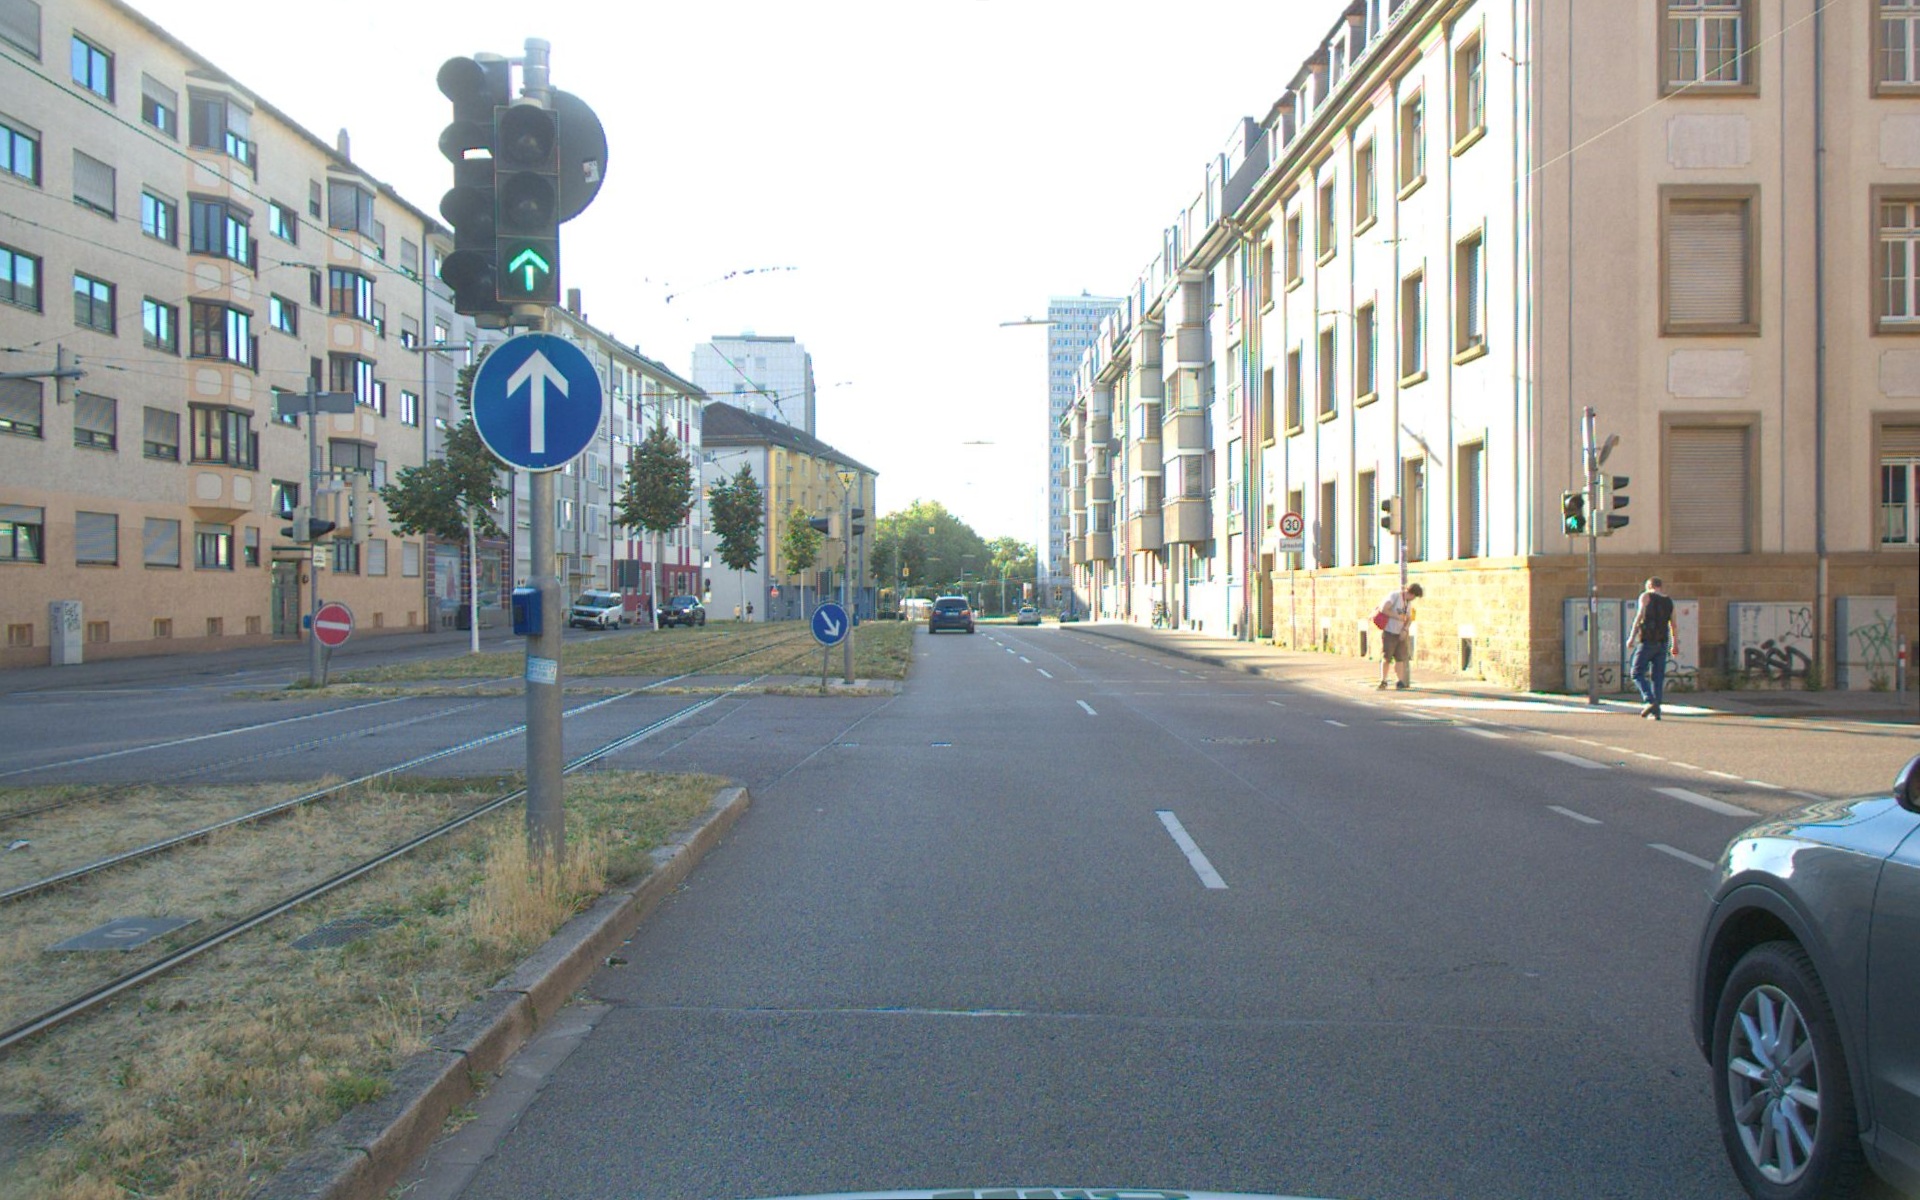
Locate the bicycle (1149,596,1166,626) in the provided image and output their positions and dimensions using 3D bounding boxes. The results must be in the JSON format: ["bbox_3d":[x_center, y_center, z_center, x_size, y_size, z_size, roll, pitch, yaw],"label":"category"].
[{"bbox_3d":[7.430,0.404,62.149,0.376,1.115,1.503,-1,0,-3],"label":"bicycle"}]

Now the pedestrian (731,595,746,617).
[{"bbox_3d":[-17.163,0.478,128.275,0.942,1.723,1.011,1,-1,4],"label":"pedestrian"}]

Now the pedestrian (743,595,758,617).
[{"bbox_3d":[-16.318,0.496,128.818,0.942,1.699,1.011,1,-1,4],"label":"pedestrian"}]

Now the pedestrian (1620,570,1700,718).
[{"bbox_3d":[8.676,0.536,20.528,0.616,1.789,0.825,1,-1,-1],"label":"pedestrian"}]

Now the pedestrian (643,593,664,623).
[{"bbox_3d":[-18.832,0.482,101.603,1.246,1.792,1.271,1,-1,-10],"label":"pedestrian"}]

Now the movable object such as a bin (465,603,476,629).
[{"bbox_3d":[-20.102,0.667,67.893,0.292,1.055,0.441,1,-1,-2],"label":"movable object such as a bin"}]

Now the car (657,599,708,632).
[{"bbox_3d":[-14.399,0.793,86.114,1.858,1.662,4.747,-1,0,0],"label":"car"}]

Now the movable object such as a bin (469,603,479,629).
[{"bbox_3d":[-20.093,0.659,68.374,0.292,1.055,0.441,1,-1,-2],"label":"movable object such as a bin"}]

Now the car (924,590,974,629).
[{"bbox_3d":[-0.409,0.382,65.216,1.887,1.481,4.327,1,-1,0],"label":"car"}]

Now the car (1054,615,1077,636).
[{"bbox_3d":[10.700,2.573,167.746,1.953,2.049,3.999,-1,0,-1],"label":"car"}]

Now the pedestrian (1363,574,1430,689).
[{"bbox_3d":[6.944,0.493,26.330,0.818,1.793,0.823,1,-1,-1],"label":"pedestrian"}]

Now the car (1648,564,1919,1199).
[{"bbox_3d":[2.850,0.733,2.726,1.663,1.580,4.225,1,0,0],"label":"car"}]

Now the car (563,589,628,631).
[{"bbox_3d":[-17.859,0.503,81.252,1.952,1.958,4.543,1,-1,3],"label":"car"}]

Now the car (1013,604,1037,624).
[{"bbox_3d":[5.379,1.138,137.445,1.952,1.591,4.000,1,-1,1],"label":"car"}]

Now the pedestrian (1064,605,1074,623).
[{"bbox_3d":[7.669,0.996,116.195,0.677,1.256,0.736,1,-1,0],"label":"pedestrian"}]
